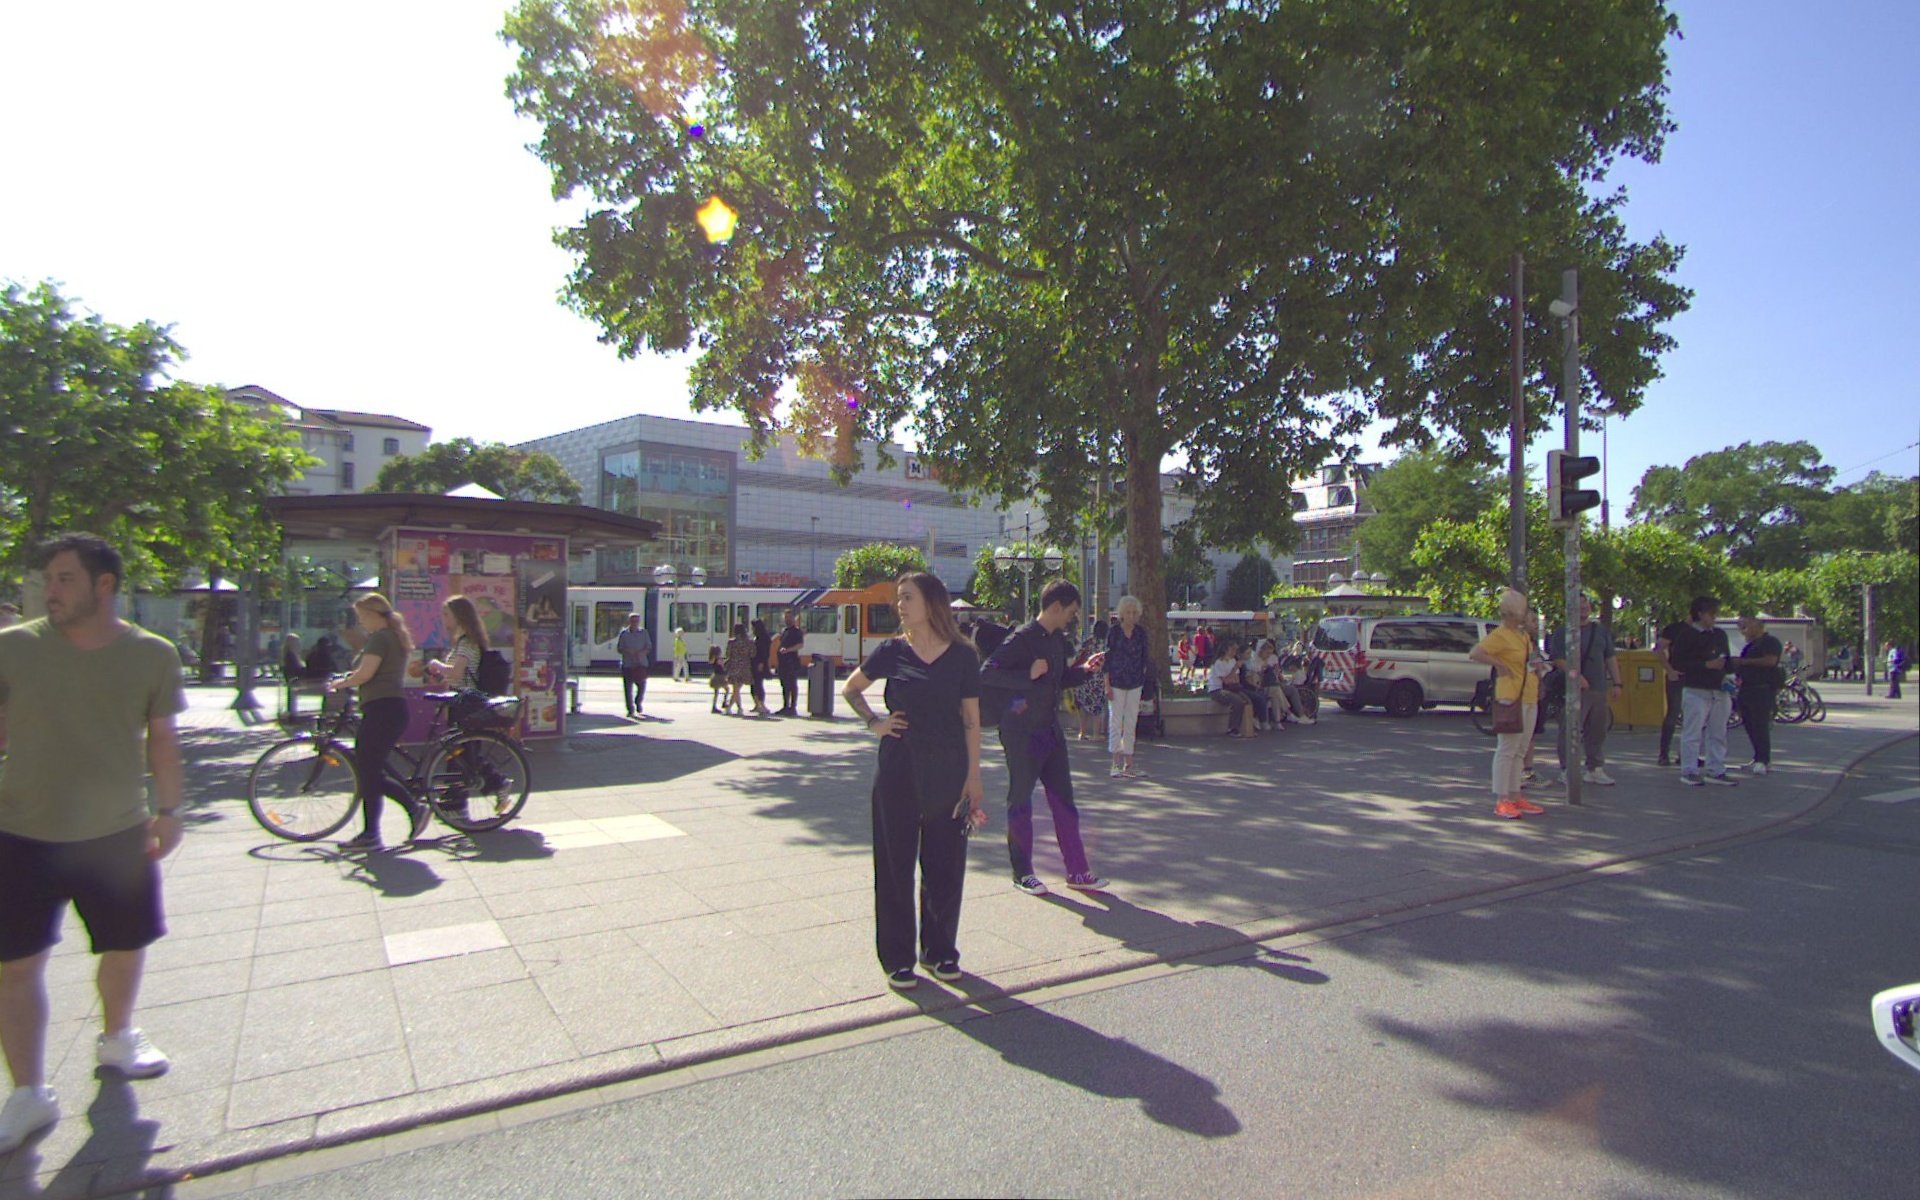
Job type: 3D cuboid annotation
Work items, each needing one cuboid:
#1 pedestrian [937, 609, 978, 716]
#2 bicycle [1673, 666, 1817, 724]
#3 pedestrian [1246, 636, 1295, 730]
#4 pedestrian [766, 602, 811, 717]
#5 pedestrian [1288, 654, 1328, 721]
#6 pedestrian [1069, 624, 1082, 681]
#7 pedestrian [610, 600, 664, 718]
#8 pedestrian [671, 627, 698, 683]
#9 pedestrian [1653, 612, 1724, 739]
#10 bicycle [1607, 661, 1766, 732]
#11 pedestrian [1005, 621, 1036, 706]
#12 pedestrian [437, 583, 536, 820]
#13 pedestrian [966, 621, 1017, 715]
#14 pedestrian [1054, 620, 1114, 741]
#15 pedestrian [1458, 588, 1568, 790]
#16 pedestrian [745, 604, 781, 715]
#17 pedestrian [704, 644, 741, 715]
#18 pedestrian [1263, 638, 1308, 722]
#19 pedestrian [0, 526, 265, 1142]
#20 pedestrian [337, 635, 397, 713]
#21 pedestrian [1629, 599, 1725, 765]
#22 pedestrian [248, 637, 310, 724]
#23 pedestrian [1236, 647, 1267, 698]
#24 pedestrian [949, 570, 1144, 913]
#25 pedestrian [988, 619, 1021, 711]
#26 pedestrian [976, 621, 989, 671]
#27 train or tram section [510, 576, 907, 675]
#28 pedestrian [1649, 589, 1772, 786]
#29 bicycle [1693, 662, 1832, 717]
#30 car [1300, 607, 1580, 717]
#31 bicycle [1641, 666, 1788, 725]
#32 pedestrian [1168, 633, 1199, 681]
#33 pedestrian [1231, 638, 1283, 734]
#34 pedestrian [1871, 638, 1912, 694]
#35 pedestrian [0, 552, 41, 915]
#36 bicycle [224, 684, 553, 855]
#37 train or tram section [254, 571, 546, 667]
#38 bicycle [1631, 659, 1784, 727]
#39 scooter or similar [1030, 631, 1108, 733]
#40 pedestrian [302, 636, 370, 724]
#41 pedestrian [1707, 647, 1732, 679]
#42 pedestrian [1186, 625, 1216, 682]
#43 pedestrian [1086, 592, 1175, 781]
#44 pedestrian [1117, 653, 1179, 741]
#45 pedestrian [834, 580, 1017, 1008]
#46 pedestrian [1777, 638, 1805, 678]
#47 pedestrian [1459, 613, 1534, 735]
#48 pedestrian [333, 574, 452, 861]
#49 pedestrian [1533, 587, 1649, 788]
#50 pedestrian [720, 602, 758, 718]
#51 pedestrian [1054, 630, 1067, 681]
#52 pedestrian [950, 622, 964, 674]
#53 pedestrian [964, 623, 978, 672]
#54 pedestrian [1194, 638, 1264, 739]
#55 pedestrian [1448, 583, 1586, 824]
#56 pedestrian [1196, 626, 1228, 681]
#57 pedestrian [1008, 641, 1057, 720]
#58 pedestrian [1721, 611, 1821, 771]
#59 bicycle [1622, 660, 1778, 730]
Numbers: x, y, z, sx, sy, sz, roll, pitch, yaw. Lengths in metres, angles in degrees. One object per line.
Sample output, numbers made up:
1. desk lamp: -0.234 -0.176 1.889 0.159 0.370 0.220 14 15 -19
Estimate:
1. pedestrian: -0.046 1.095 17.626 0.604 1.833 0.634 1 -3 -10
2. bicycle: 14.949 1.787 19.186 0.679 0.993 2.064 2 -3 -41
3. pedestrian: 4.854 1.276 15.693 0.648 1.404 0.664 0 -2 26
4. pedestrian: -2.863 0.990 16.791 0.537 1.883 0.504 0 -2 26
5. pedestrian: 5.954 1.487 17.205 0.617 1.108 0.511 0 -2 16
6. pedestrian: 3.636 1.656 31.635 0.374 1.772 0.415 0 -1 9
7. pedestrian: -5.261 0.961 16.379 0.717 1.883 0.608 1 -2 -9
8. pedestrian: -8.880 1.759 32.383 0.594 1.772 0.747 0 -1 9
9. pedestrian: 10.380 1.062 14.312 0.670 1.747 0.606 2 -2 -32
10. bicycle: 12.194 1.589 16.924 0.679 1.104 2.064 2 -3 -41
11. pedestrian: 1.169 1.219 19.361 0.489 1.624 0.500 1 -2 -10
12. pedestrian: -3.660 0.748 7.756 0.599 1.734 0.573 1 -1 -32
13. pedestrian: 0.504 1.099 16.376 0.717 1.498 0.634 1 -2 -9
14. pedestrian: 1.664 1.069 13.520 0.653 1.586 0.634 1 -2 -9
15. pedestrian: 5.345 0.843 9.743 0.716 1.883 0.635 1 -2 -1
16. pedestrian: -3.367 1.014 17.223 0.555 1.883 0.509 1 -2 -9
17. pedestrian: -4.036 1.338 17.058 0.555 1.174 0.509 1 -2 -9
18. pedestrian: 5.442 1.323 16.822 0.690 1.366 0.511 0 -2 17
19. pedestrian: -2.724 0.667 3.188 0.779 1.745 0.582 0 -1 -28
20. pedestrian: -10.008 1.232 16.963 0.600 1.279 0.611 0 -1 15
21. pedestrian: 8.217 0.928 11.534 0.650 1.847 0.619 1 -2 -1
22. pedestrian: -10.319 1.202 15.217 0.602 1.279 0.610 -1 -2 38
23. pedestrian: 9.080 2.247 31.250 0.740 1.534 0.600 1 -2 -37
24. pedestrian: 0.457 0.740 5.575 0.930 1.757 0.685 1 -2 -9
25. pedestrian: 0.825 1.214 18.756 0.516 1.678 0.513 1 -3 -10
26. pedestrian: 0.731 1.493 32.543 0.374 1.594 0.415 0 -1 9
27. train or tram section: -9.860 0.977 39.771 15.233 3.725 2.623 0 -1 6
28. pedestrian: 7.343 0.841 9.850 0.716 1.858 0.635 1 -2 -1
29. bicycle: 15.883 1.747 19.925 0.679 0.993 2.064 2 -3 -41
30. car: 9.177 1.177 19.365 4.674 1.981 1.862 1 -2 -9
31. bicycle: 13.907 1.731 18.572 0.679 0.993 2.064 2 -3 -41
32. pedestrian: 7.264 1.838 32.660 0.724 1.534 0.744 0 -1 -16
33. pedestrian: 4.473 1.270 15.092 0.648 1.404 0.664 0 -2 26
34. pedestrian: 28.072 1.969 30.279 0.605 1.650 0.767 1 -2 -31
35. pedestrian: -5.413 0.696 5.310 0.656 1.904 0.627 1 -1 -30
36. bicycle: -3.880 1.132 6.973 1.903 1.042 0.489 1 -2 -18
37. train or tram section: -22.753 0.766 41.039 10.779 3.725 2.623 0 -1 5
38. bicycle: 13.205 1.615 17.801 0.679 1.104 2.064 2 -3 -41
39. scooter or similar: 1.599 1.184 14.933 1.018 1.439 1.281 0 -2 0
40. pedestrian: -9.345 1.179 15.049 0.599 1.279 0.613 0 -1 6
41. pedestrian: 33.163 2.750 43.872 0.703 1.354 0.651 1 -2 -29
42. pedestrian: 7.485 1.656 31.243 0.723 1.759 0.593 0 -1 -10
43. pedestrian: 1.708 0.858 10.142 0.717 1.834 0.634 1 -2 -9
44. pedestrian: 2.565 1.311 13.717 0.653 1.159 0.634 1 -2 -9
45. pedestrian: -0.165 0.747 4.176 0.674 1.616 0.634 1 -2 -9
46. pedestrian: 37.108 2.586 44.873 0.645 1.729 0.710 1 -2 -15
47. pedestrian: 8.070 1.098 15.137 0.751 1.787 0.680 1 -2 -1
48. pedestrian: -3.760 0.745 6.698 0.598 1.803 0.574 1 0 -24
49. pedestrian: 6.126 0.834 9.779 0.716 1.883 0.635 1 -2 -1
50. pedestrian: -3.639 0.986 16.579 0.555 1.883 0.509 1 -2 -9
51. pedestrian: 3.160 1.748 31.588 0.374 1.594 0.415 0 -1 9
52. pedestrian: -0.101 1.547 32.641 0.374 1.693 0.415 0 -1 9
53. pedestrian: 0.358 1.536 32.599 0.374 1.594 0.415 0 -1 9
54. pedestrian: 3.868 1.248 14.462 0.659 1.404 0.725 2 -2 -37
55. pedestrian: 4.391 0.793 7.958 0.717 1.818 0.634 1 -2 -9
56. pedestrian: 8.041 1.704 32.101 0.724 1.736 0.744 0 -1 -14
57. pedestrian: 1.234 1.361 17.194 0.717 1.310 0.634 1 -2 -9
58. pedestrian: 8.848 0.978 10.976 0.580 1.690 0.619 1 -2 -1
59. bicycle: 12.728 1.606 17.337 0.679 1.104 2.064 2 -3 -41
